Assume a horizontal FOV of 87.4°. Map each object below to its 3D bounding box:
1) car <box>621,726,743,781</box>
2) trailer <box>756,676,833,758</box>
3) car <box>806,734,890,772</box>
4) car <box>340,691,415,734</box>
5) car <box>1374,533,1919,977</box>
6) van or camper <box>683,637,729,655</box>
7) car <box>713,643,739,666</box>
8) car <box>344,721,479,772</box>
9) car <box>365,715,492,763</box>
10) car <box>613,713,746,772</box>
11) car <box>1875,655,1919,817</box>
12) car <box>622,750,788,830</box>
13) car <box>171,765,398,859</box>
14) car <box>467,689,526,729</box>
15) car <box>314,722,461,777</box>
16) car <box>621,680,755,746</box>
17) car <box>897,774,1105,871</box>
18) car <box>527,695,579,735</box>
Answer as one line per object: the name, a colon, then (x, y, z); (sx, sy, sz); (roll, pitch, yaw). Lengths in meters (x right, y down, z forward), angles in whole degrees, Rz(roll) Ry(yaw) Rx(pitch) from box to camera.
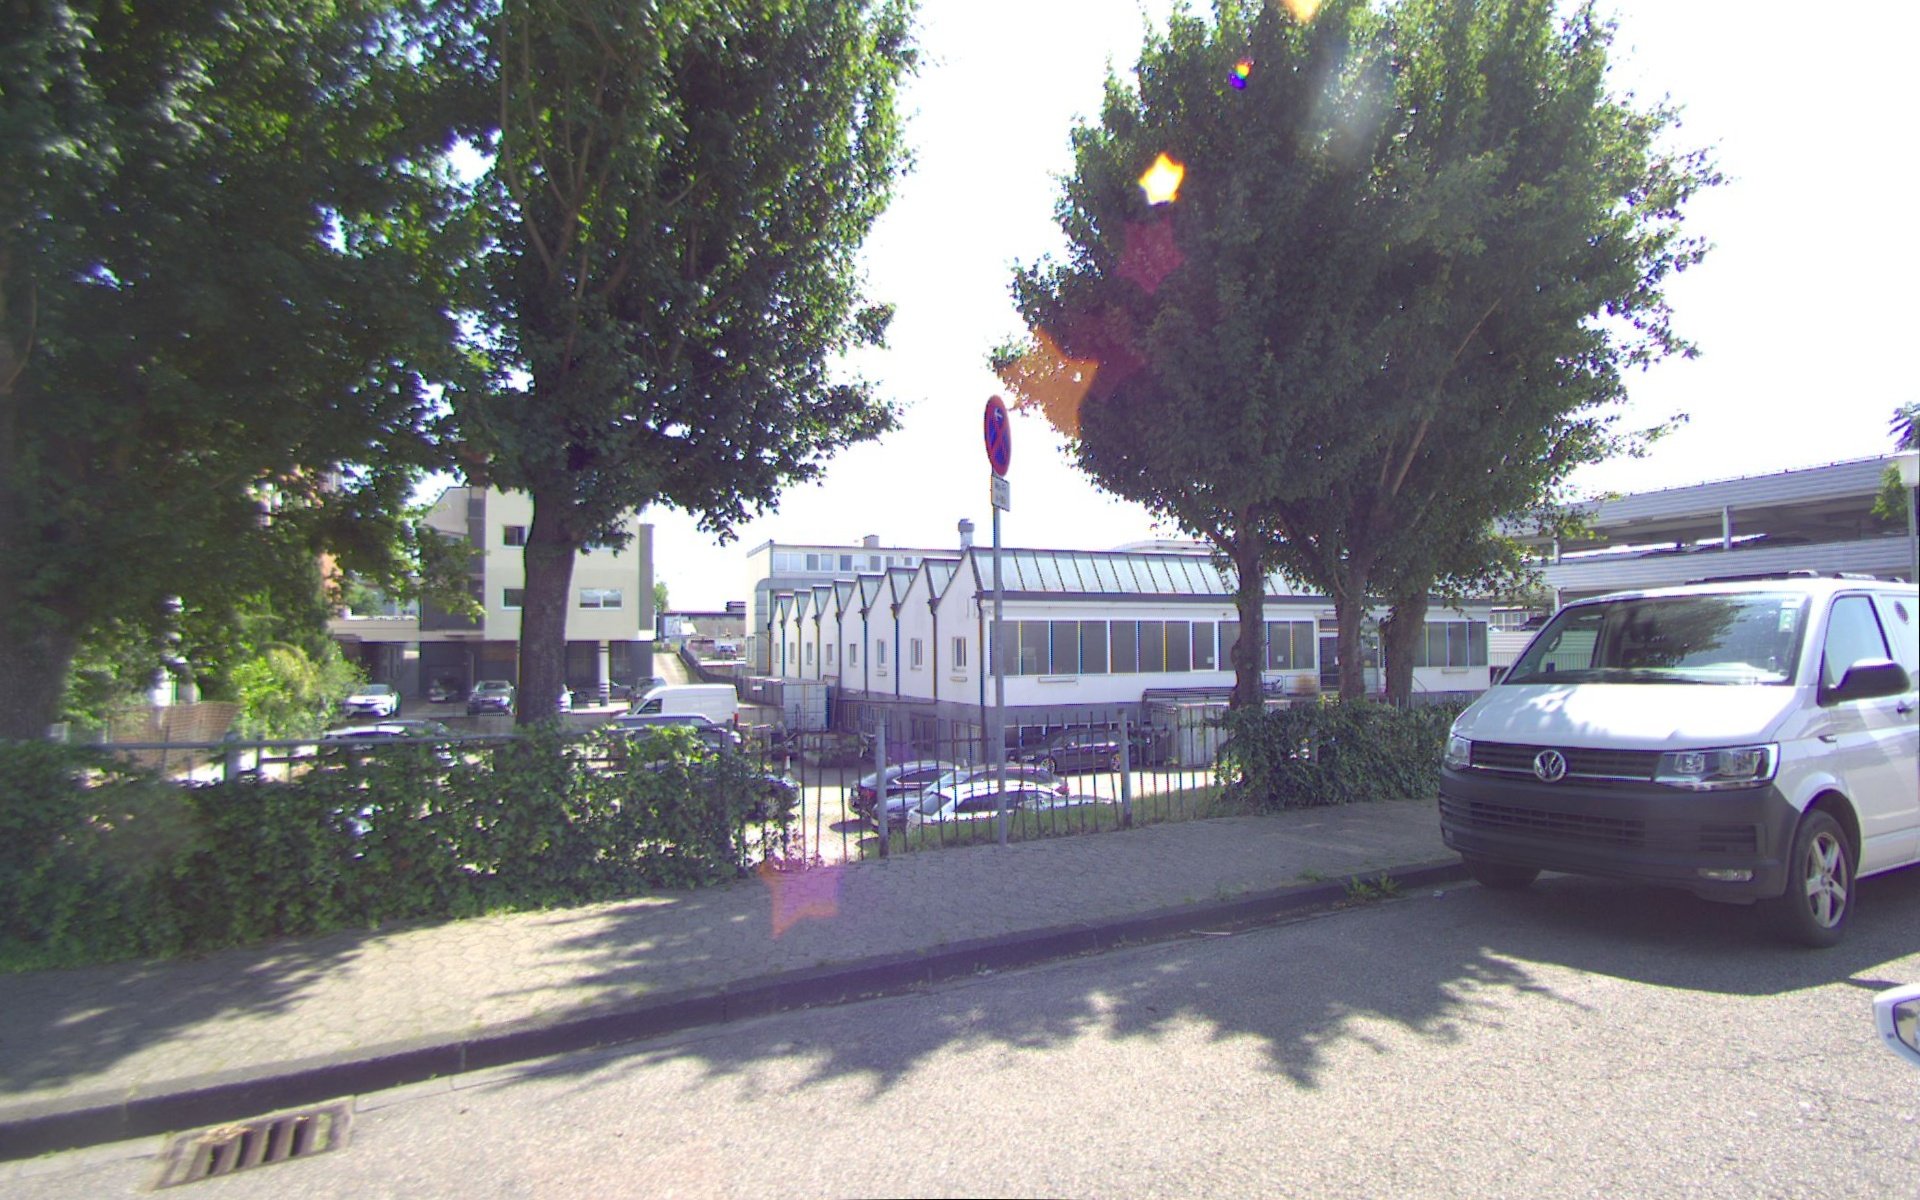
car: (-9.848, 5.381, 35.553); (3.944, 1.705, 1.990); (2, -5, -23)
trailer: (-9.280, 6.300, 55.575); (2.716, 4.046, 6.848); (0, -3, -22)
car: (-5.153, 7.026, 46.272); (3.544, 1.537, 1.784); (2, -5, -21)
car: (-26.739, 5.119, 46.281); (2.084, 1.699, 4.583); (2, -4, -19)
car: (5.306, 0.847, 6.753); (4.996, 2.039, 1.963); (2, -5, -30)
van or camper: (-34.463, 6.270, 136.479); (5.648, 2.318, 2.321); (2, -6, -28)
car: (-22.432, 5.214, 96.122); (1.969, 2.039, 3.985); (1, -5, -20)
car: (-21.901, 5.831, 40.320); (4.534, 1.698, 1.815); (0, -5, -22)
car: (-22.354, 5.847, 42.472); (4.534, 1.698, 1.815); (0, -5, -22)
car: (-11.023, 5.523, 39.423); (4.853, 2.047, 1.991); (2, -4, -21)
car: (11.467, 1.330, 10.420); (4.351, 1.563, 1.706); (2, -5, -31)
car: (-6.682, 4.907, 26.277); (3.944, 1.705, 1.990); (2, -5, -23)
car: (-15.318, 4.797, 23.082); (3.944, 1.705, 1.990); (2, -5, -23)
car: (-22.058, 5.155, 48.000); (2.084, 1.699, 4.583); (2, -4, -19)
car: (-21.289, 5.532, 37.569); (4.534, 1.698, 1.815); (0, -5, -22)
car: (-12.799, 5.239, 47.224); (5.845, 2.913, 2.433); (1, -5, -21)
car: (0.838, 4.542, 20.824); (3.940, 1.461, 1.801); (1, -3, -21)
car: (-19.784, 5.564, 49.019); (2.084, 1.699, 4.583); (1, -4, -19)
